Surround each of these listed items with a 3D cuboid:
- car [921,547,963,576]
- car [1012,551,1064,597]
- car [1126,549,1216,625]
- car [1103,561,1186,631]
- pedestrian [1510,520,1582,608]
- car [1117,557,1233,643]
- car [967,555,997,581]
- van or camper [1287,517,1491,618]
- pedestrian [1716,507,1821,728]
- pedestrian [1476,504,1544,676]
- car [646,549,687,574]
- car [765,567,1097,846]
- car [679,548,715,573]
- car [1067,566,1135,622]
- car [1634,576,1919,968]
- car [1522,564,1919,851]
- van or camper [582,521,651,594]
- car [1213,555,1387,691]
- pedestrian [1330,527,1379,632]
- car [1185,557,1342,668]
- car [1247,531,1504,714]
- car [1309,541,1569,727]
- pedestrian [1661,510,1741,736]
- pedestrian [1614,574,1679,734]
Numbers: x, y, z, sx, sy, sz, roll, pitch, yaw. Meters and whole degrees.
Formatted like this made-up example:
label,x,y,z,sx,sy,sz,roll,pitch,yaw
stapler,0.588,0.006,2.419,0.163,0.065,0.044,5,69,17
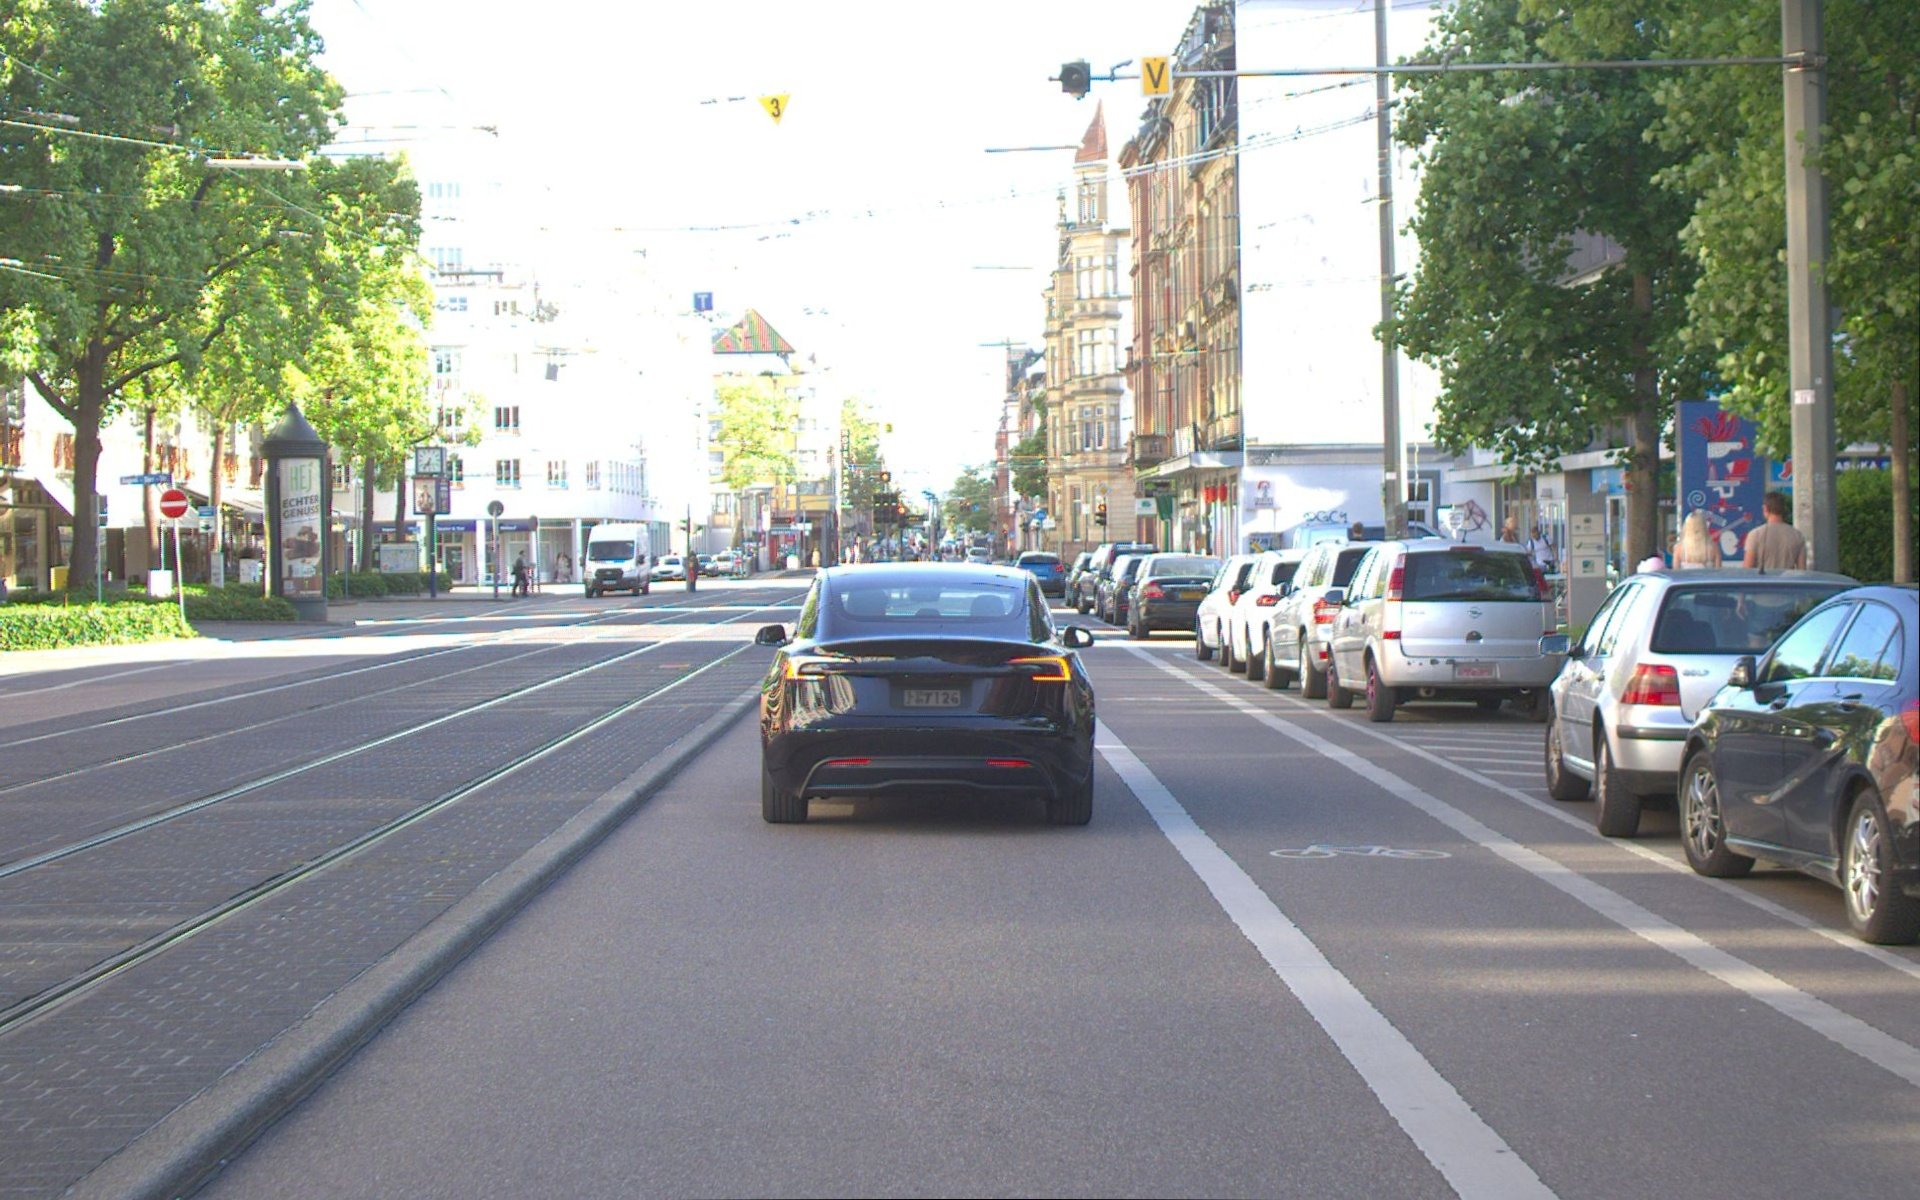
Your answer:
label,x,y,z,sx,sy,sz,roll,pitch,yaw
car,-0.970,-2.088,185.289,1.993,1.520,4.001,0,1,-4
car,2.509,-0.841,111.312,1.593,1.428,3.686,-1,1,1
car,4.094,-0.241,67.032,1.578,1.442,3.309,0,0,1
car,3.866,-0.078,72.396,1.461,1.427,3.814,0,0,-1
pedestrian,11.721,-0.720,68.764,1.155,1.722,1.042,-1,2,25
car,3.773,-0.023,60.898,1.710,1.452,4.550,0,0,-1
car,1.410,-2.074,222.337,1.846,1.587,4.000,-2,1,0
van or camper,10.299,-0.778,82.800,4.644,2.129,1.987,-3,0,4
pedestrian,7.145,0.148,30.420,0.669,1.891,0.747,-4,1,5
pedestrian,5.847,-0.107,36.535,0.611,1.802,0.602,-2,0,4
car,-16.534,-2.159,193.749,1.993,1.363,4.000,-1,1,0
car,-0.197,0.538,19.769,1.719,1.400,3.710,1,1,-1
car,-16.699,-2.504,218.589,1.993,1.490,4.000,-1,1,0
car,3.812,-0.170,93.494,1.715,1.467,3.719,-1,1,1
car,4.318,0.644,14.845,1.802,1.430,4.324,2,1,-2
car,4.317,0.528,19.856,1.750,1.438,4.314,0,1,4
van or camper,-12.913,-1.584,129.651,2.139,2.645,6.881,-1,1,-2
car,4.128,0.242,42.313,1.541,1.565,4.444,0,1,-2
pedestrian,6.895,-0.366,60.159,0.721,1.806,0.889,-1,0,0
car,4.160,0.150,47.573,1.601,1.438,3.885,1,0,-3
car,4.353,0.182,36.714,1.925,1.828,4.713,0,1,-3
car,4.368,0.263,31.871,1.713,1.585,4.066,1,1,-2
pedestrian,6.567,0.195,30.472,0.465,1.947,0.747,-4,1,5
pedestrian,6.113,0.479,30.614,0.456,1.393,0.422,-3,1,5
